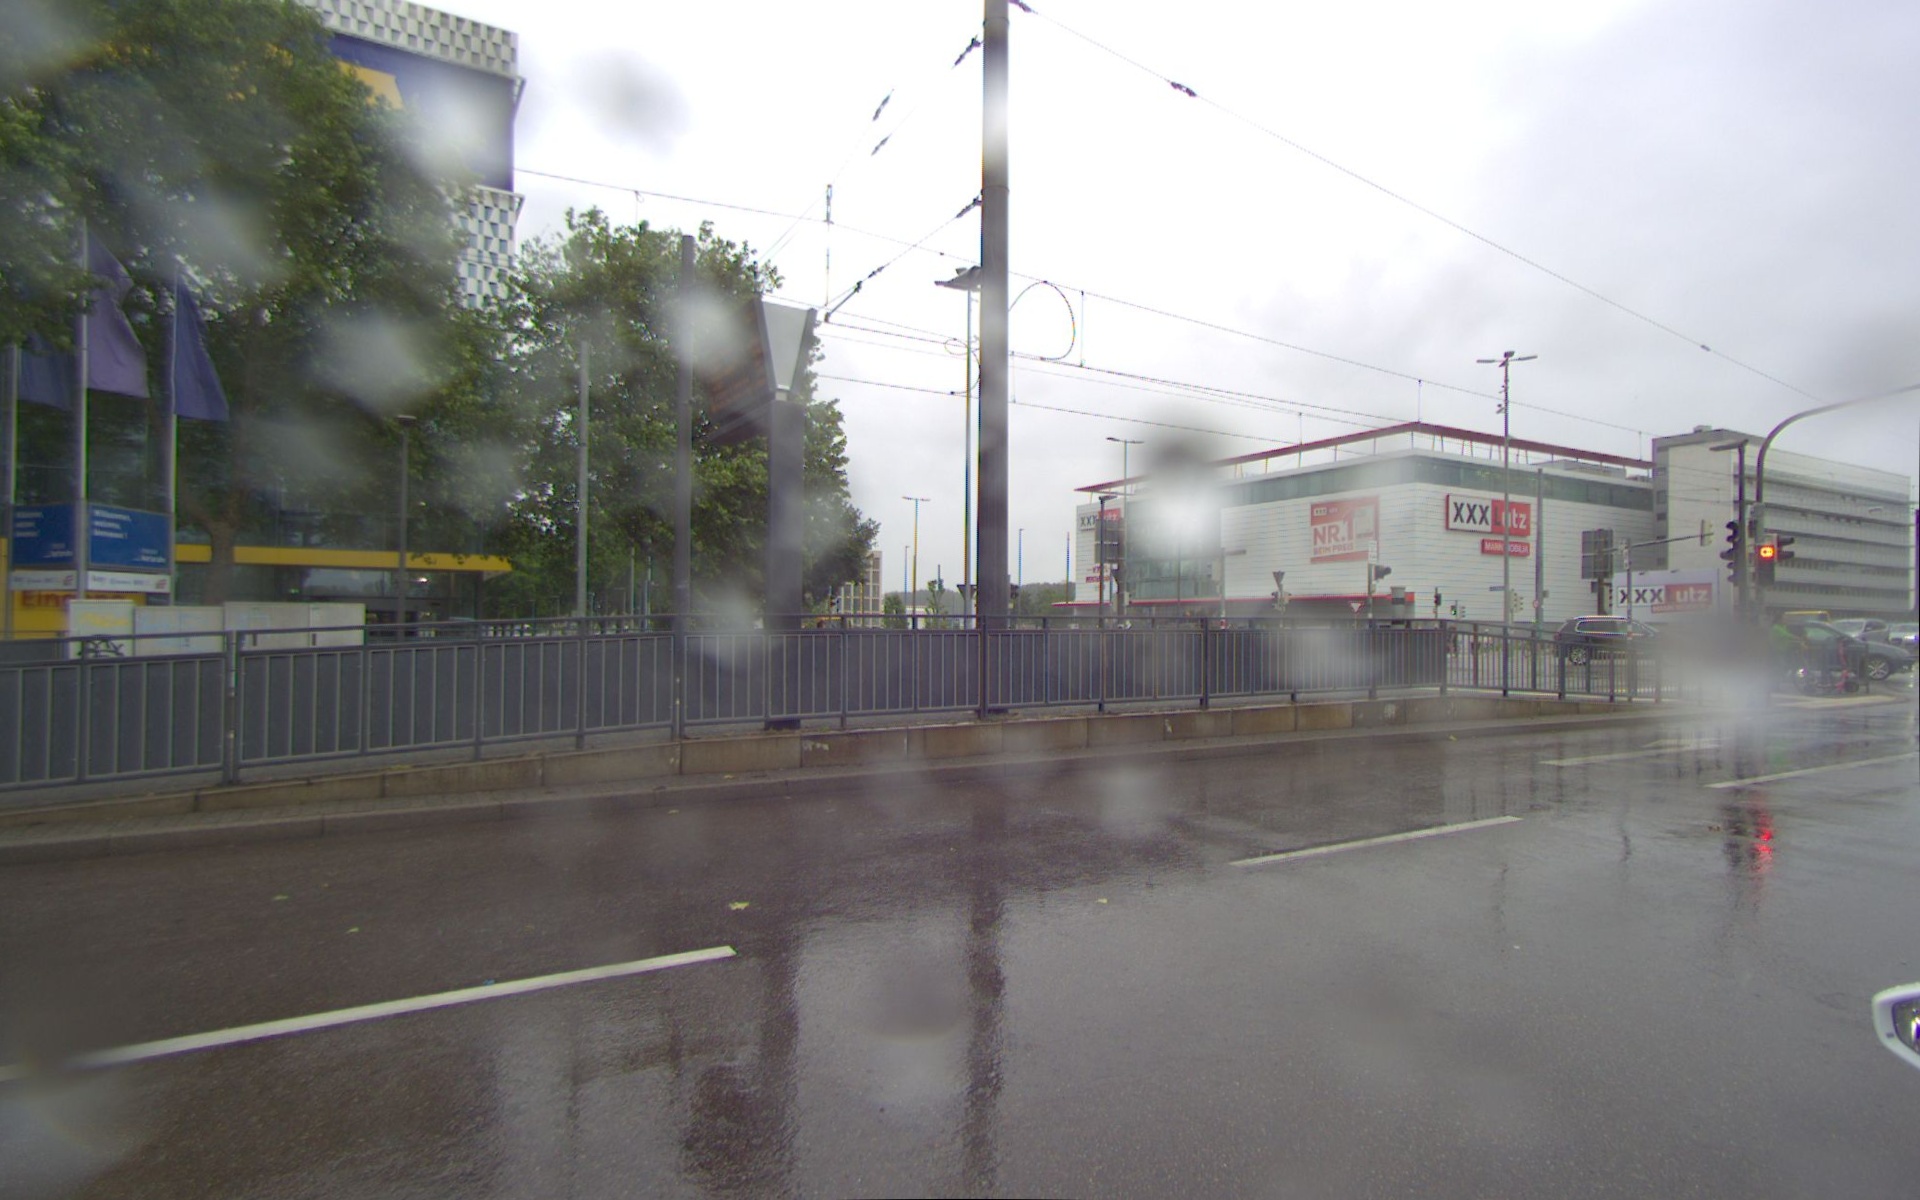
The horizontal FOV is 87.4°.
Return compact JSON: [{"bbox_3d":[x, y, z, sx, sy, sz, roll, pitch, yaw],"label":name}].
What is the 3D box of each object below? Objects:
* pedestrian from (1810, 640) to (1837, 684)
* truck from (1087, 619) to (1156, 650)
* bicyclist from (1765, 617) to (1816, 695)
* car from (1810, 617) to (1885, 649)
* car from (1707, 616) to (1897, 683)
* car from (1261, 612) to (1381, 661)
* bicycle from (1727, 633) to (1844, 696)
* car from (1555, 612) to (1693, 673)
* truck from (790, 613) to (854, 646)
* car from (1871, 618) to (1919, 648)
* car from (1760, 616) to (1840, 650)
[{"bbox_3d":[18.488,1.324,21.510,0.376,0.909,0.313,1,2,-32],"label":"pedestrian"},{"bbox_3d":[12.594,2.664,78.565,1.990,1.968,5.847,3,1,-31],"label":"truck"},{"bbox_3d":[16.792,1.120,20.320,0.593,1.511,0.600,2,1,20],"label":"bicyclist"},{"bbox_3d":[44.791,1.651,50.666,3.765,1.445,1.702,3,1,-30],"label":"car"},{"bbox_3d":[22.769,1.293,27.358,3.734,1.417,1.531,4,3,35],"label":"car"},{"bbox_3d":[12.984,1.282,36.283,1.639,1.527,3.694,1,1,-44],"label":"car"},{"bbox_3d":[16.703,1.292,20.352,1.724,1.153,0.520,2,0,18],"label":"bicycle"},{"bbox_3d":[22.505,1.398,34.132,3.733,1.696,1.701,4,3,34],"label":"car"},{"bbox_3d":[-11.337,2.351,81.803,2.445,2.240,7.329,3,1,-31],"label":"truck"},{"bbox_3d":[50.969,1.805,54.260,3.527,1.445,1.552,3,1,-30],"label":"car"},{"bbox_3d":[39.812,1.572,47.613,3.765,1.445,1.702,3,1,-30],"label":"car"}]
